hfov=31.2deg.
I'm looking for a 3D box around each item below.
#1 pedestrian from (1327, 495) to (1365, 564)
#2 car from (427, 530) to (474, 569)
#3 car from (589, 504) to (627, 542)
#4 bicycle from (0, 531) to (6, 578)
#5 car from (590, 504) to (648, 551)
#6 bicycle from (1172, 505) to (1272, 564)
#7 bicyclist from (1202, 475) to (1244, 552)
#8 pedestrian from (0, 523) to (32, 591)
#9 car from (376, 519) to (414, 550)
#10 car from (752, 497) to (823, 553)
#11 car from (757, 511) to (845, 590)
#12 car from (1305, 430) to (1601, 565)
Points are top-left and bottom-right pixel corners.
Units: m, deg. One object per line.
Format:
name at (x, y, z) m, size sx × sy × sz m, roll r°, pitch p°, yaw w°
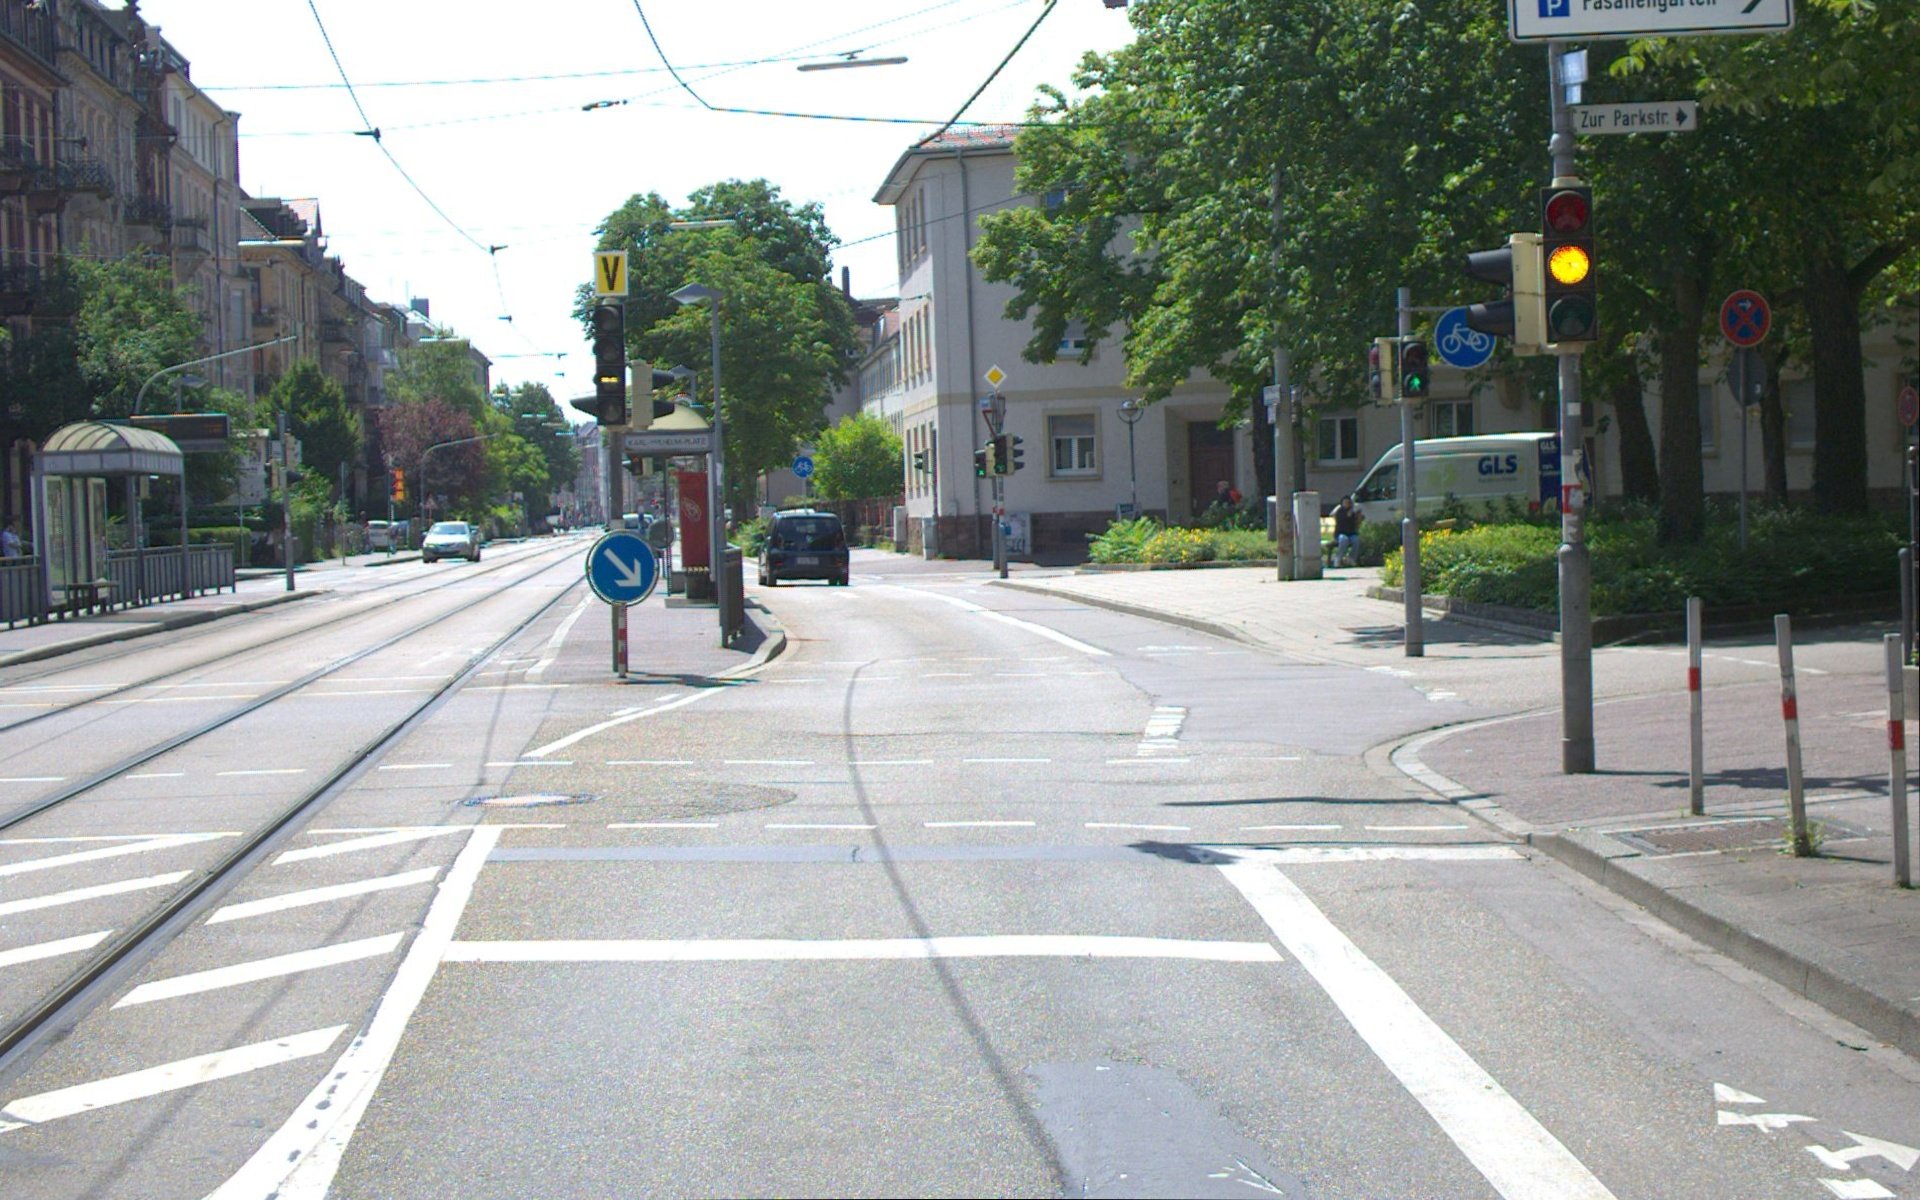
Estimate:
pedestrian at (6.343, -1.166, 56.533) m, size 0.509 × 1.088 × 0.478 m, roll -3°, pitch 2°, yaw 1°
car at (-18.122, -1.787, 122.385) m, size 1.540 × 1.334 × 3.720 m, roll -1°, pitch 1°, yaw -7°
car at (-19.601, -4.276, 191.576) m, size 2.046 × 2.007 × 4.608 m, roll -1°, pitch 1°, yaw -5°
bicycle at (-24.514, -1.117, 85.652) m, size 0.364 × 1.165 × 1.516 m, roll 1°, pitch 2°, yaw 38°
car at (-11.192, -2.372, 112.780) m, size 1.524 × 1.451 × 3.366 m, roll -3°, pitch 1°, yaw -10°
bicycle at (5.644, -1.418, 74.070) m, size 2.084 × 1.232 × 0.580 m, roll 0°, pitch 1°, yaw 28°
bicyclist at (5.663, -1.854, 74.030) m, size 0.694 × 1.640 × 0.579 m, roll -1°, pitch 1°, yaw 28°
pedestrian at (-22.945, -1.043, 83.473) m, size 0.469 × 1.609 × 0.652 m, roll 4°, pitch 4°, yaw 42°
car at (-29.028, -3.363, 176.682) m, size 1.684 × 1.467 × 3.939 m, roll -5°, pitch 1°, yaw -8°
car at (-5.064, -2.181, 100.702) m, size 1.747 × 1.467 × 3.939 m, roll -5°, pitch 1°, yaw -6°
car at (-3.189, -0.989, 68.419) m, size 1.524 × 1.439 × 3.365 m, roll -3°, pitch 1°, yaw -5°
car at (9.915, -2.038, 69.521) m, size 1.995 × 2.581 × 5.847 m, roll -3°, pitch 2°, yaw -45°
